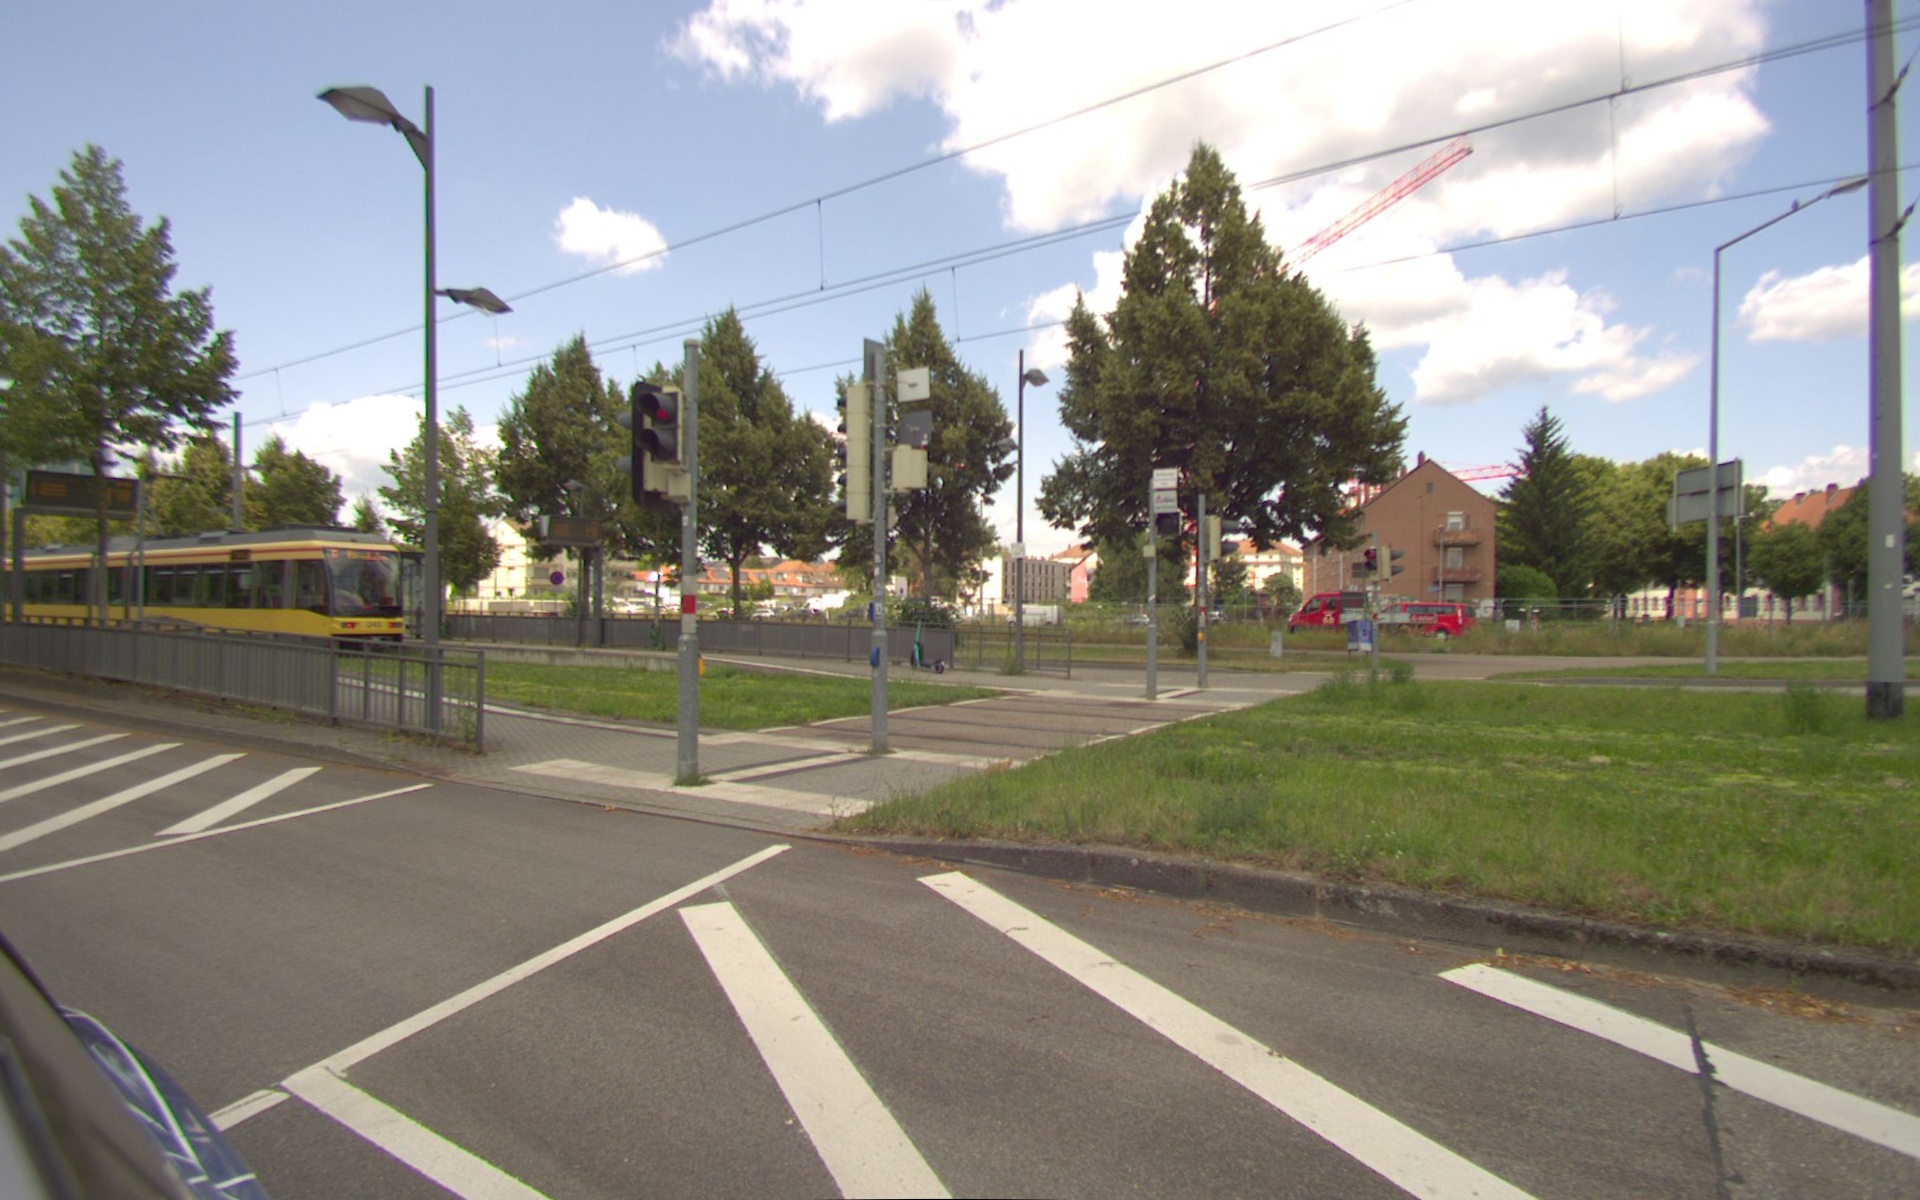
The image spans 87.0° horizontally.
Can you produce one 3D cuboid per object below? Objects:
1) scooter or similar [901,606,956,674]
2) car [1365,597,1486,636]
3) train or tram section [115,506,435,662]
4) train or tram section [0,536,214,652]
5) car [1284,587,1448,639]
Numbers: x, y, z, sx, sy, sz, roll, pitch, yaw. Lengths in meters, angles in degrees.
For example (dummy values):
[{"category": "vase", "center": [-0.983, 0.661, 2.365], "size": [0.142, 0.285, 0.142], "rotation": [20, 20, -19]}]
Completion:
[{"category": "scooter or similar", "center": [-0.662, 0.795, 20.760], "size": [0.412, 1.311, 1.349], "rotation": [0, 2, -36]}, {"category": "car", "center": [23.443, 0.838, 51.120], "size": [2.054, 1.866, 5.196], "rotation": [0, -1, -37]}, {"category": "train or tram section", "center": [-20.307, -0.317, 29.433], "size": [13.438, 3.768, 2.819], "rotation": [-1, -1, 34]}, {"category": "train or tram section", "center": [-32.073, -0.117, 37.182], "size": [14.622, 3.666, 2.665], "rotation": [-1, -1, 34]}, {"category": "car", "center": [18.411, 0.598, 46.329], "size": [2.354, 2.214, 6.857], "rotation": [0, -1, -33]}]
